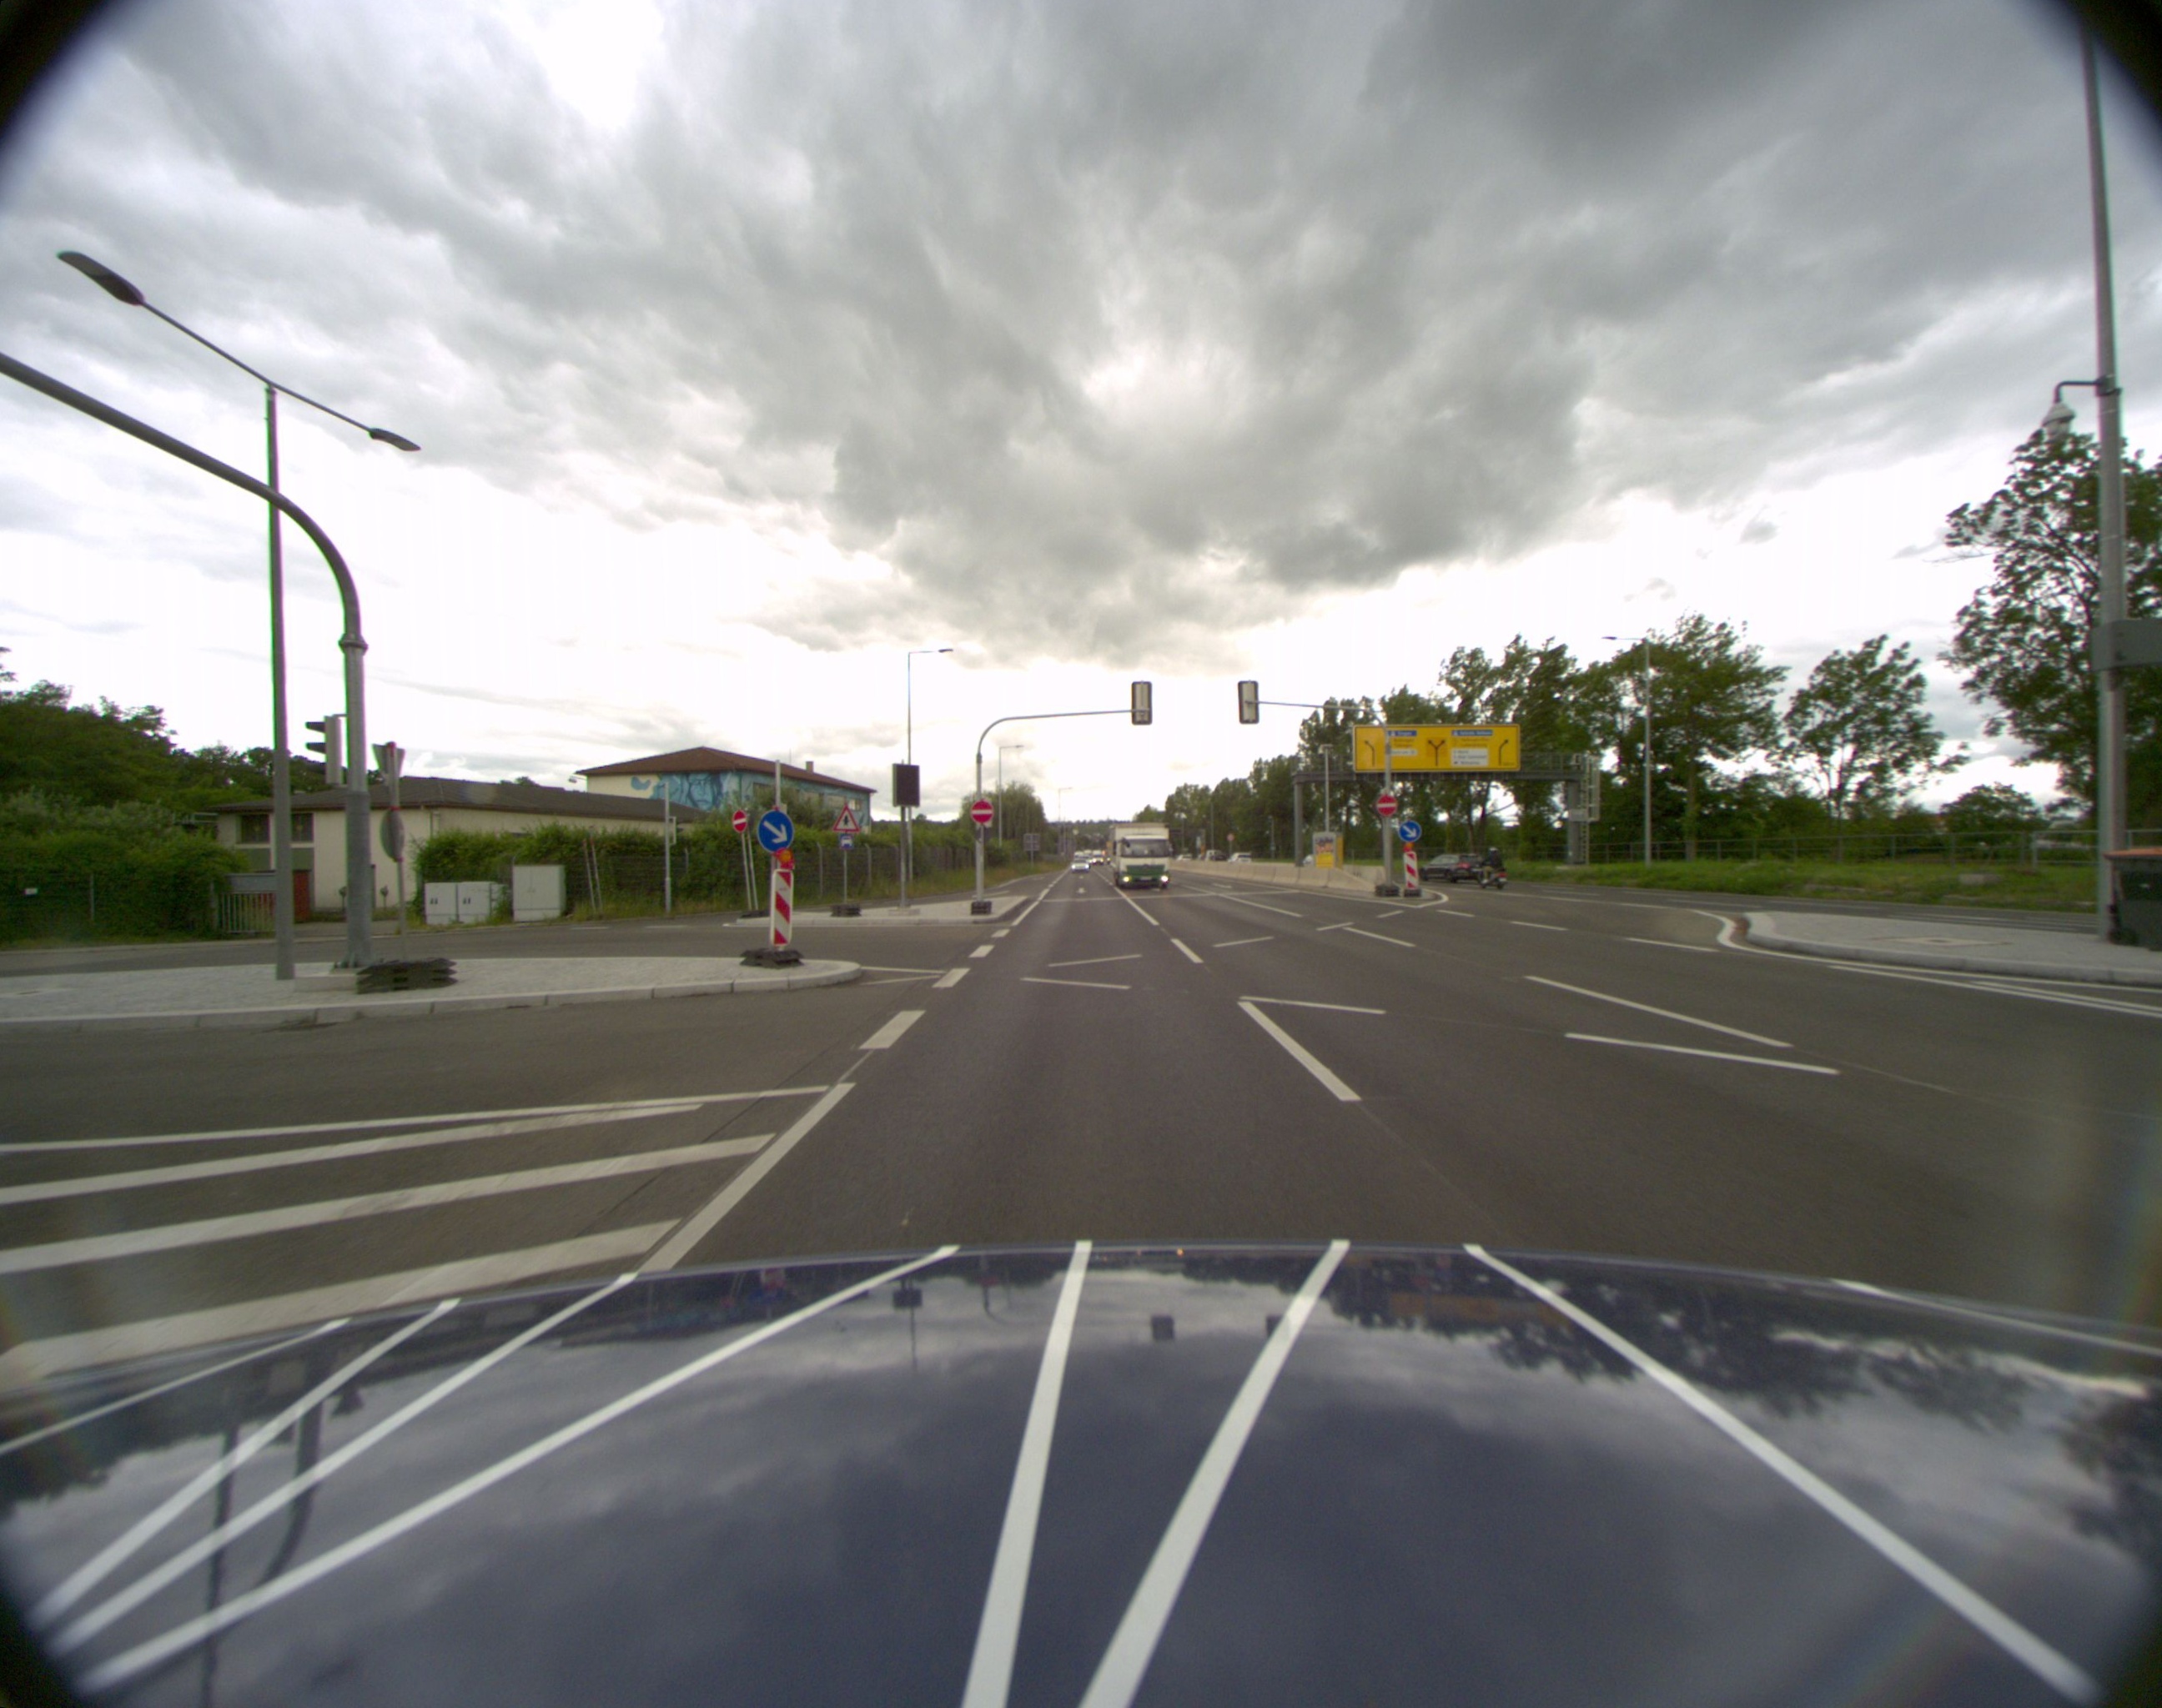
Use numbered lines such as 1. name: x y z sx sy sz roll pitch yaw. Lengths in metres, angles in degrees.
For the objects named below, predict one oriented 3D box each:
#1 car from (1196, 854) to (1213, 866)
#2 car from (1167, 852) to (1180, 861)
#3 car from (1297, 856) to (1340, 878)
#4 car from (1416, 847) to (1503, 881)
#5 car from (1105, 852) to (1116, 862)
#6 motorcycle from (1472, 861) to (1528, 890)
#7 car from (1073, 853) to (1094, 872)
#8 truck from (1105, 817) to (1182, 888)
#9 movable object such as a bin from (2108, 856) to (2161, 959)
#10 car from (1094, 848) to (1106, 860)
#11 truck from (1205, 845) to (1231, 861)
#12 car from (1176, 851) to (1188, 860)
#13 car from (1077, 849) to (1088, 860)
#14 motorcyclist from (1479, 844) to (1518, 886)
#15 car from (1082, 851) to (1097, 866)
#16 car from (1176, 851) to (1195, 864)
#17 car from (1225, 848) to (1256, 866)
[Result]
1. car: 21.074 1.043 129.953 1.998 2.002 4.937 -3 0 0
2. car: 17.773 0.450 145.980 1.882 1.673 4.126 -3 0 0
3. car: 18.972 1.018 60.966 1.999 1.646 4.288 -3 0 0
4. car: 18.952 0.499 38.332 1.999 1.541 4.567 -3 0 -1
5. car: 5.769 0.599 150.709 1.998 2.002 4.000 -3 0 0
6. motorcycle: 16.032 0.794 29.127 0.915 0.983 2.163 -3 1 0
7. car: 0.237 0.874 78.745 1.999 1.849 4.000 -3 0 0
8. truck: 2.970 -0.032 38.578 2.943 3.064 8.387 -3 0 -1
9. movable object such as a bin: 11.570 0.556 7.973 0.542 1.053 0.741 -3 0 0
10. car: 3.458 -0.050 137.686 1.999 2.002 4.000 -3 0 0
11. truck: 18.330 -0.133 101.932 2.210 2.002 6.301 -3 0 -1
12. car: 20.876 0.315 157.513 1.882 1.673 4.122 -3 0 0
13. car: 0.228 0.068 146.972 1.999 2.002 4.000 -3 0 0
14. motorcyclist: 16.022 0.418 29.168 0.915 1.513 0.980 -3 1 0
15. car: 1.263 0.608 108.947 1.999 2.002 4.000 -3 0 0
16. car: 15.110 0.501 110.240 1.999 1.658 4.695 -3 0 0
17. car: 15.875 0.338 75.821 1.999 1.674 4.412 -3 0 0
